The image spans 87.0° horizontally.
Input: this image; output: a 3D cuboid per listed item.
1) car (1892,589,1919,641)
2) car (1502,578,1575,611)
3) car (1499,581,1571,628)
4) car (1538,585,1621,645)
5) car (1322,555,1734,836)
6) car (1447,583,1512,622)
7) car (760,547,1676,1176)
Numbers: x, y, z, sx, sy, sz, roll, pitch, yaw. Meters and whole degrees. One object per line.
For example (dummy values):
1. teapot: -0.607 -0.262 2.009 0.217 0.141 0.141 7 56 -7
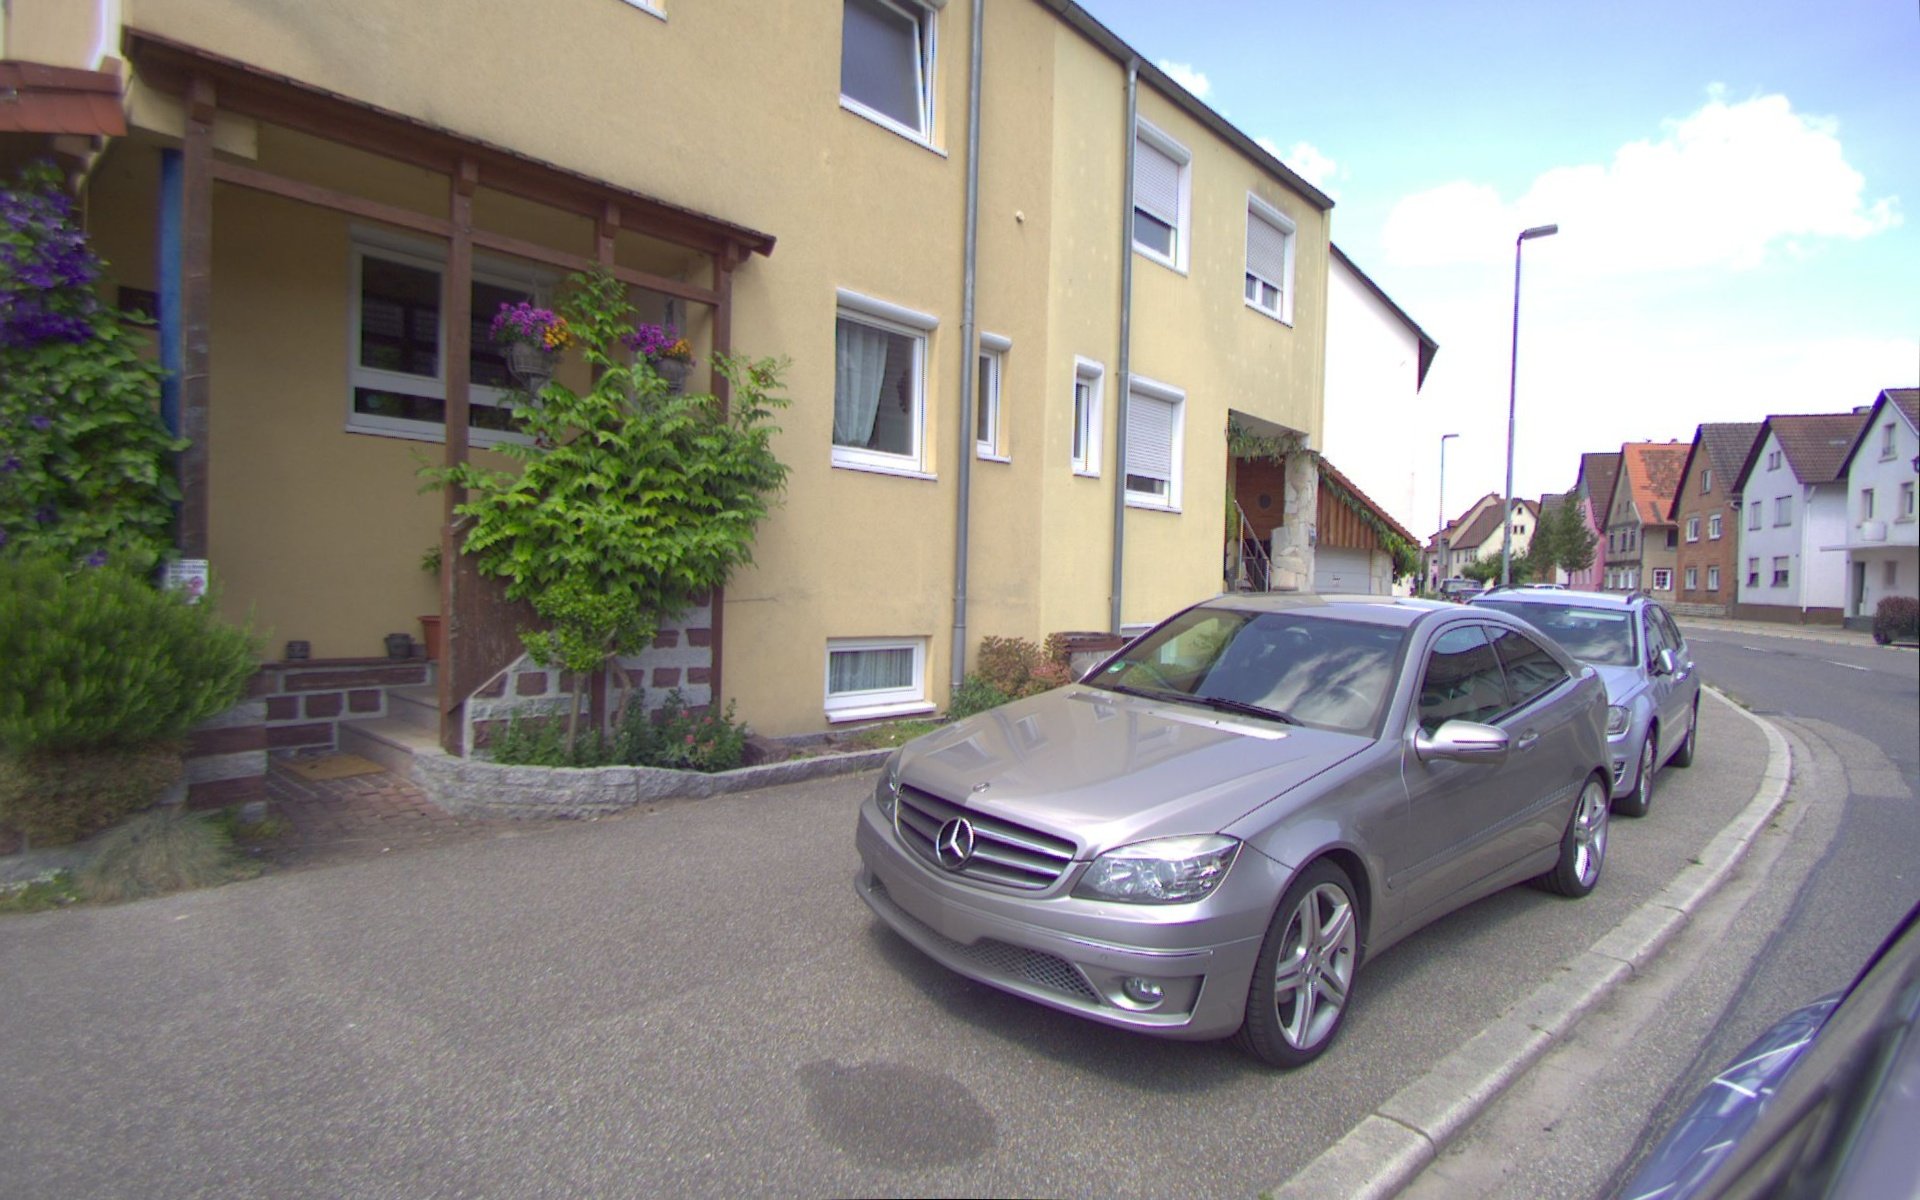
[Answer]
1. car: 27.544 0.431 27.489 1.789 1.438 4.516 0 0 22
2. car: 34.402 -0.353 60.311 1.966 1.822 4.928 0 2 7
3. car: 20.199 0.177 35.684 1.754 1.549 3.967 1 -1 23
4. car: 17.158 0.365 28.181 1.713 1.402 3.961 2 3 28
5. car: 4.721 0.510 8.083 1.885 1.548 4.269 5 4 42
6. car: 23.117 0.093 45.169 1.641 1.668 3.984 0 1 13
7. car: 1.481 0.537 4.479 4.349 1.416 1.774 -2 5 -42
